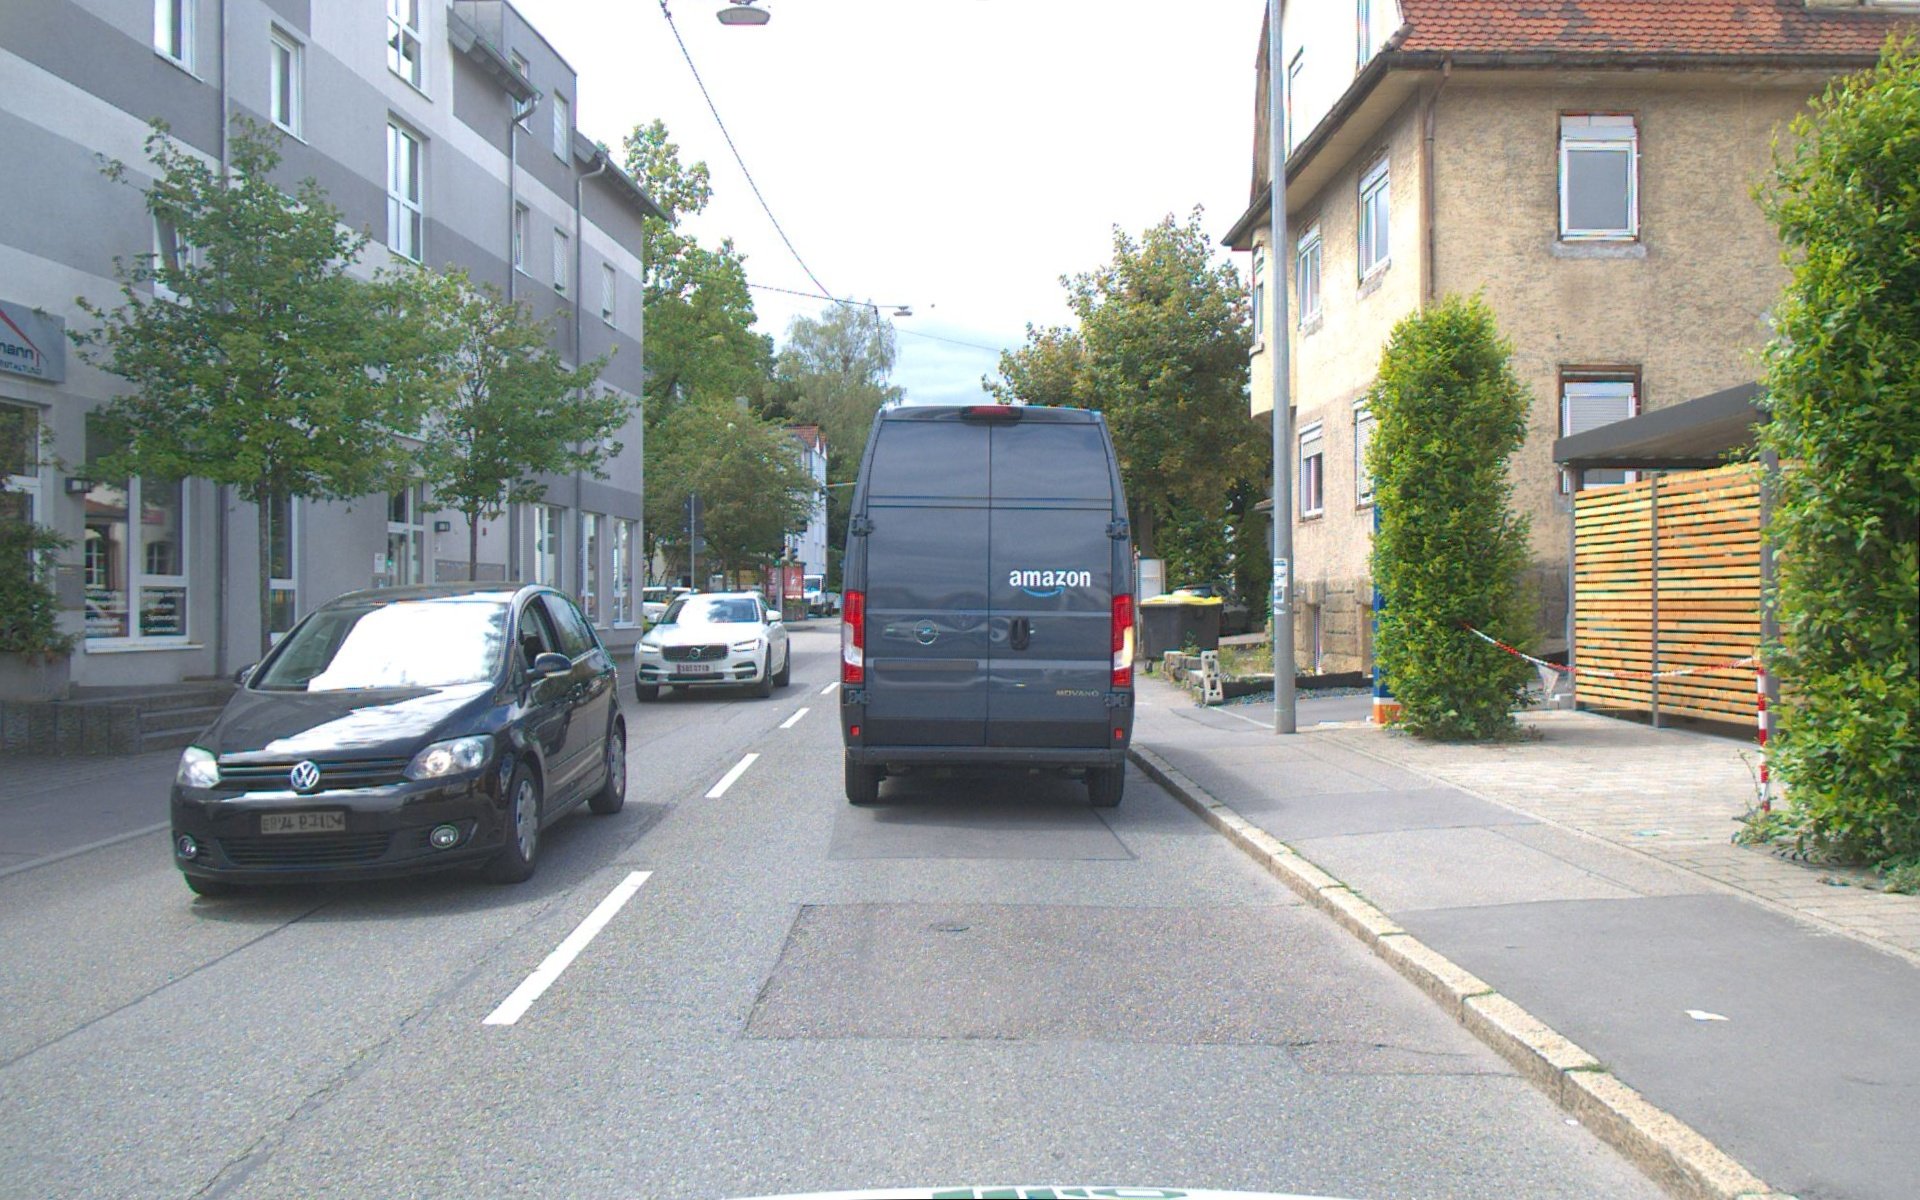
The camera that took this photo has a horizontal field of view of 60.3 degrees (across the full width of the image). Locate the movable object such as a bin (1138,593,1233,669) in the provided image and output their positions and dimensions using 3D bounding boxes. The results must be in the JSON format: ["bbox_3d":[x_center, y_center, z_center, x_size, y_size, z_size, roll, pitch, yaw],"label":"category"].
[{"bbox_3d":[3.949,0.534,28.987,1.170,1.288,1.197,0,0,-31],"label":"movable object such as a bin"}]

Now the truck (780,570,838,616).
[{"bbox_3d":[-8.234,-0.364,91.007,2.178,2.421,6.328,1,0,4],"label":"truck"}]

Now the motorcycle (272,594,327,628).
[{"bbox_3d":[-20.979,0.337,52.576,1.180,1.022,2.332,1,0,-11],"label":"motorcycle"}]

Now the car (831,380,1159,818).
[{"bbox_3d":[0.102,-0.018,13.811,2.104,2.819,6.246,0,0,-2],"label":"car"}]

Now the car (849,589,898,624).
[{"bbox_3d":[-3.740,0.251,72.121,1.835,1.449,4.115,1,0,1],"label":"car"}]

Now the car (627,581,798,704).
[{"bbox_3d":[-3.600,0.563,24.887,1.859,1.587,4.799,-3,0,-1],"label":"car"}]

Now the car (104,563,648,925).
[{"bbox_3d":[-3.077,0.649,9.665,1.795,1.612,4.036,-2,0,-2],"label":"car"}]

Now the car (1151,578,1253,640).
[{"bbox_3d":[6.957,0.235,47.209,1.717,1.543,4.077,-3,0,25],"label":"car"}]

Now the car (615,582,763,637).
[{"bbox_3d":[-8.128,0.280,49.870,4.125,1.540,1.822,1,1,0],"label":"car"}]

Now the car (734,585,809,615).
[{"bbox_3d":[-9.511,0.004,83.712,3.618,1.450,1.804,1,0,-3],"label":"car"}]
